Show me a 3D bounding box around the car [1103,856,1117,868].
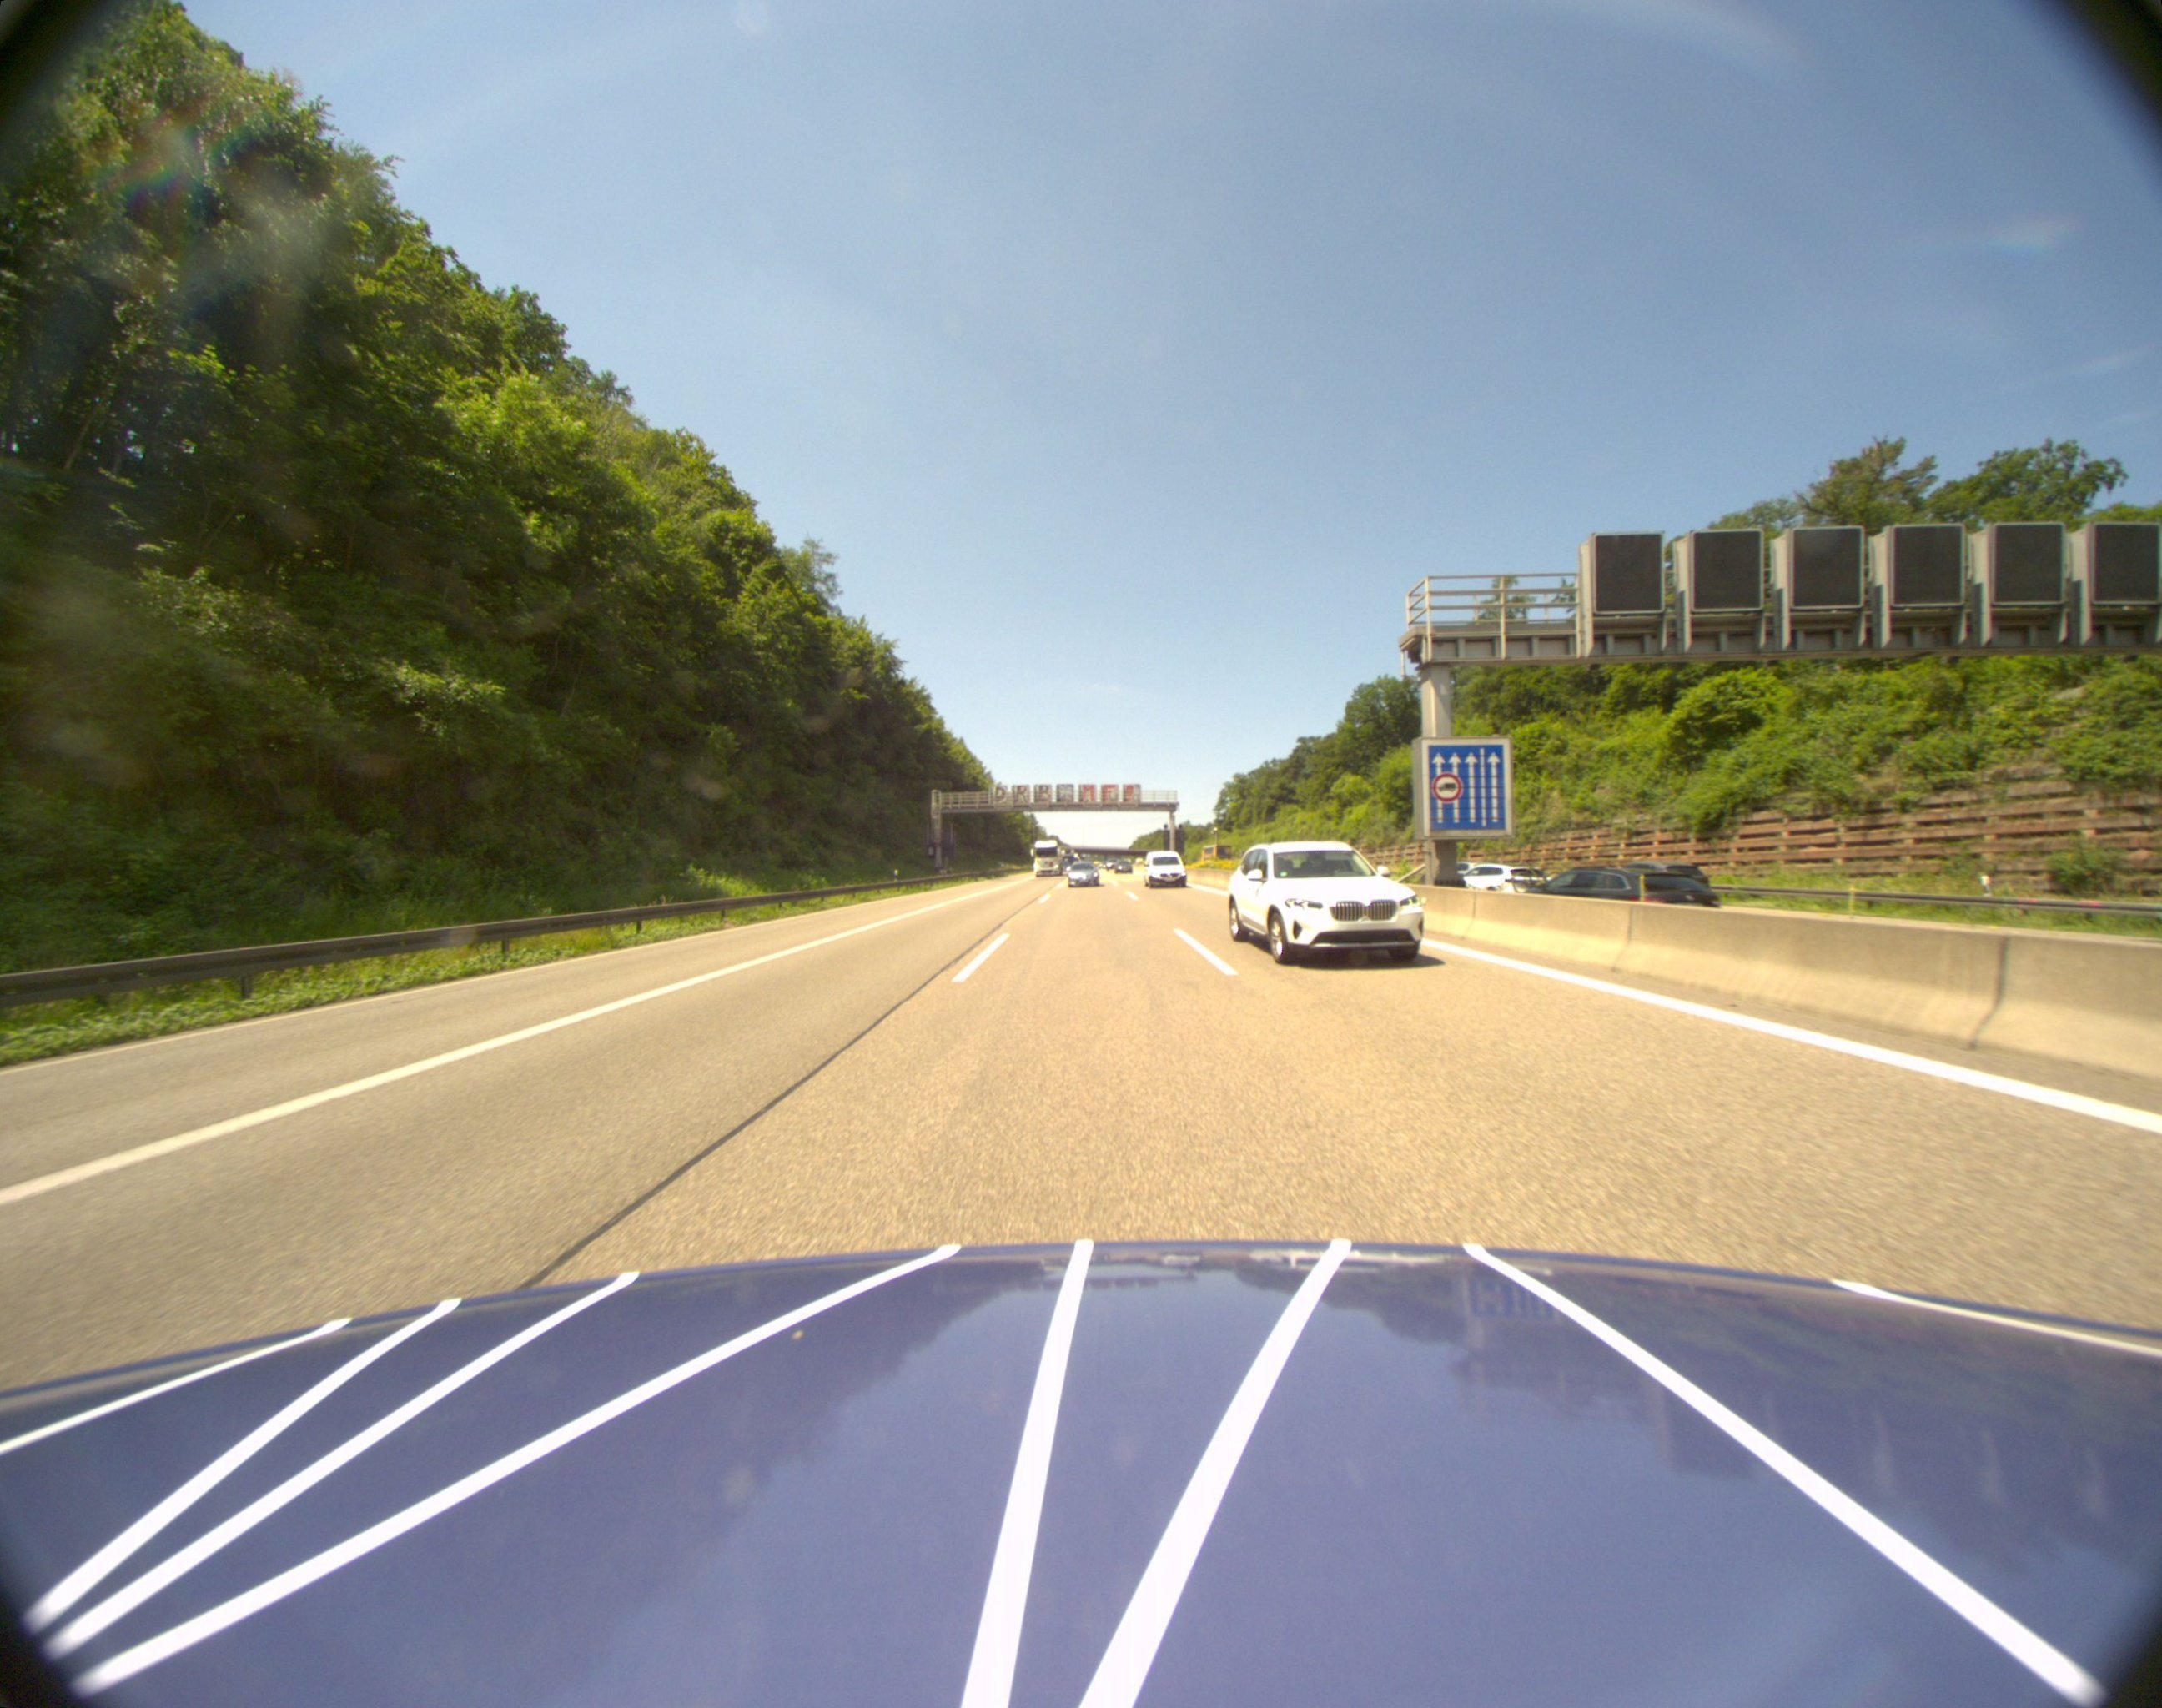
[{"bbox_3d":[4.004,1.108,105.070,1.770,1.504,4.000,-3,0,0],"label":"car"}]

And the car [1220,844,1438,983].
[{"bbox_3d":[3.459,0.757,11.544,1.850,1.634,4.368,-2,-1,0],"label":"car"}]

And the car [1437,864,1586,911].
[{"bbox_3d":[15.200,1.120,27.330,1.966,1.486,5.887,0,-1,0],"label":"car"}]

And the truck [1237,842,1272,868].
[{"bbox_3d":[20.534,0.156,90.091,2.586,2.975,7.062,0,0,0],"label":"truck"}]

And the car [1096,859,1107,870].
[{"bbox_3d":[3.908,1.935,143.218,1.924,1.849,4.001,-3,0,2],"label":"car"}]

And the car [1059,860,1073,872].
[{"bbox_3d":[-2.131,1.727,109.196,1.770,1.504,4.000,-3,0,0],"label":"car"}]

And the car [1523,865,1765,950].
[{"bbox_3d":[11.433,0.992,15.907,1.903,1.517,4.373,0,-1,1],"label":"car"}]

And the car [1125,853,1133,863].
[{"bbox_3d":[14.170,1.178,223.588,2.003,2.658,4.846,0,0,0],"label":"car"}]

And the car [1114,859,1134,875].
[{"bbox_3d":[4.483,1.332,80.091,1.770,1.504,4.725,-3,0,0],"label":"car"}]

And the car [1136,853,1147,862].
[{"bbox_3d":[17.291,0.979,218.108,2.761,2.658,5.684,0,0,0],"label":"car"}]

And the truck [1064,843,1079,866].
[{"bbox_3d":[-1.796,0.056,155.558,2.627,4.364,13.087,-3,0,0],"label":"truck"}]

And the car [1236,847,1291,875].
[{"bbox_3d":[11.539,0.425,48.534,2.002,1.677,5.995,0,-1,0],"label":"car"}]

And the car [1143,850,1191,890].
[{"bbox_3d":[4.279,0.773,38.480,1.998,1.764,4.502,-3,0,2],"label":"car"}]

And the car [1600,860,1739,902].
[{"bbox_3d":[22.125,0.961,28.840,1.903,1.486,4.478,0,-1,1],"label":"car"}]

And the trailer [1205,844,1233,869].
[{"bbox_3d":[24.102,0.459,133.575,2.985,4.182,14.469,1,0,3],"label":"trailer"}]

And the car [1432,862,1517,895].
[{"bbox_3d":[18.855,1.141,36.608,1.903,1.517,4.373,0,-1,1],"label":"car"}]

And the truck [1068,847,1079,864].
[{"bbox_3d":[-2.083,0.445,217.796,2.627,4.364,13.087,-3,0,0],"label":"truck"}]

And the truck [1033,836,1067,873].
[{"bbox_3d":[-3.167,0.112,82.024,2.844,3.518,13.087,-3,0,0],"label":"truck"}]

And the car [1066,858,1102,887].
[{"bbox_3d":[0.228,1.021,44.644,1.843,1.518,4.502,-3,0,2],"label":"car"}]

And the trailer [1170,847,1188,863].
[{"bbox_3d":[25.242,0.264,196.326,2.985,4.077,13.994,1,0,1],"label":"trailer"}]
